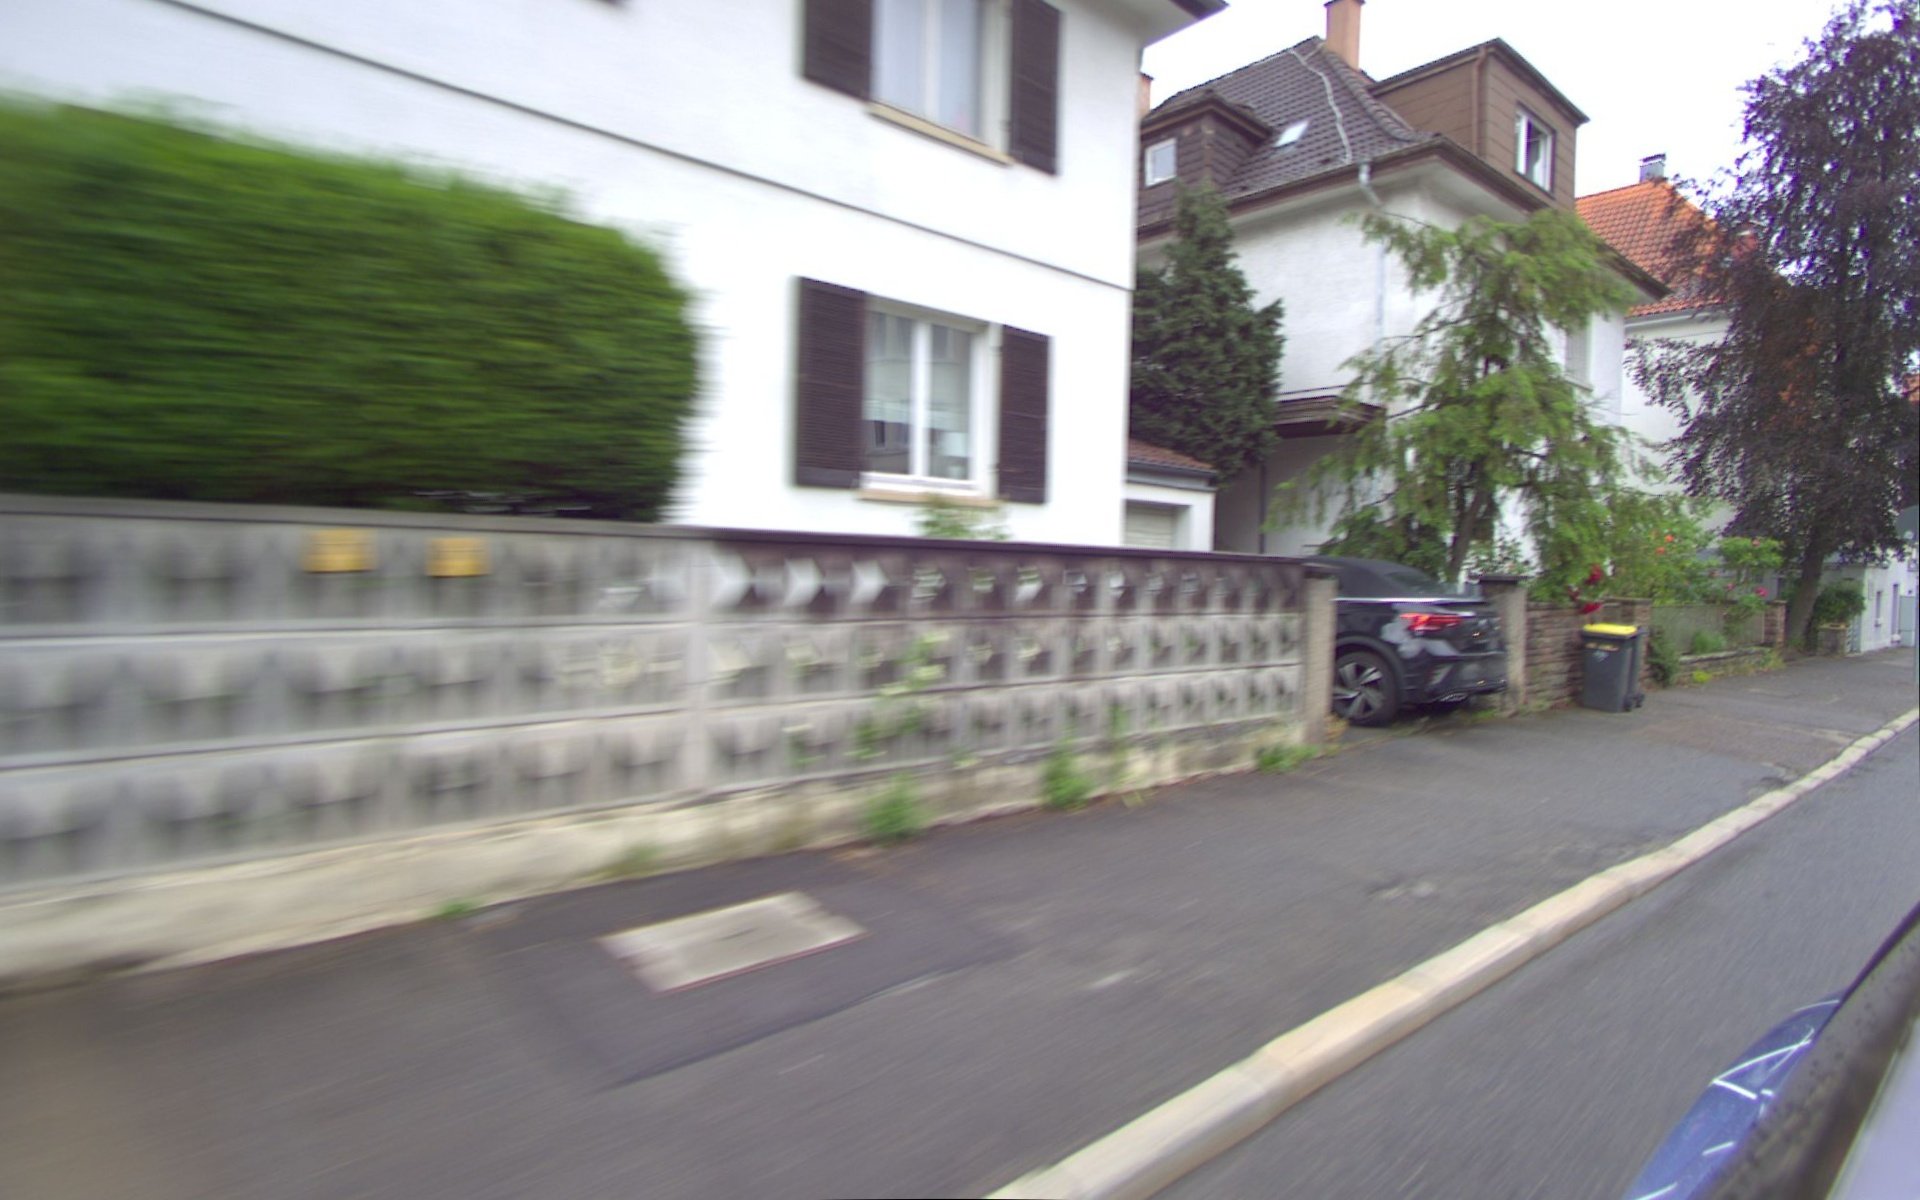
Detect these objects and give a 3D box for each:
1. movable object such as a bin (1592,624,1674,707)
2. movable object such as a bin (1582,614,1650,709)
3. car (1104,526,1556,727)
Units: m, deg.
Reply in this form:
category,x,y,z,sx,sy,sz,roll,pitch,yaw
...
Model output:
category,x,y,z,sx,sy,sz,roll,pitch,yaw
movable object such as a bin,7.492,0.713,11.269,0.494,0.866,0.652,2,0,-42
movable object such as a bin,7.088,0.651,10.936,0.494,0.968,0.495,2,0,-42
car,3.647,0.189,10.532,1.884,1.660,3.995,2,0,-40
